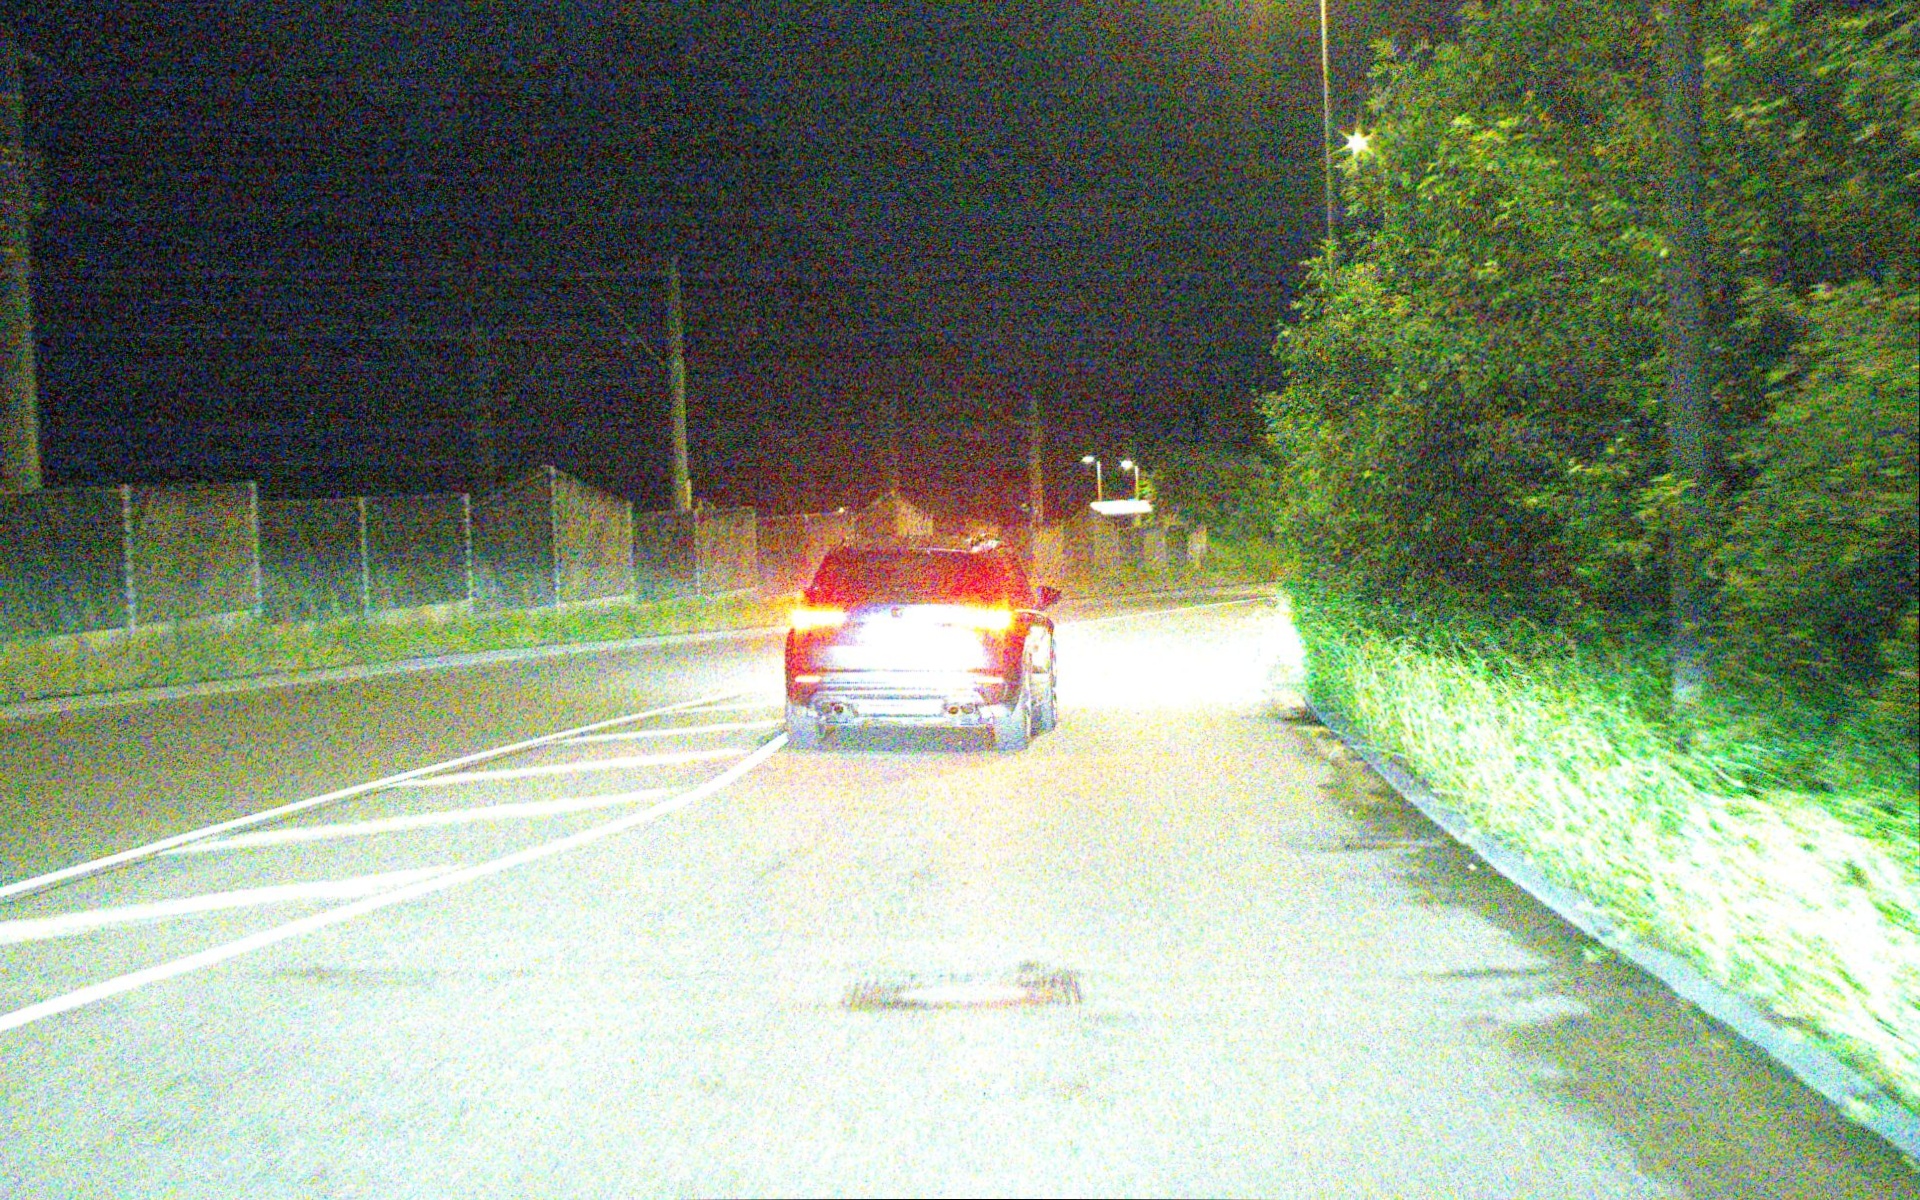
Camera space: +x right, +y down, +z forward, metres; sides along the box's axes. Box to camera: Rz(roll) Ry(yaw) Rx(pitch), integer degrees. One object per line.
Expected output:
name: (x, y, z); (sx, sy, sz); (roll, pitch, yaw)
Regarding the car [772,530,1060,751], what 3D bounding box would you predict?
car: (-0.261, 0.249, 26.603); (1.815, 1.568, 3.943); (0, 1, 5)
